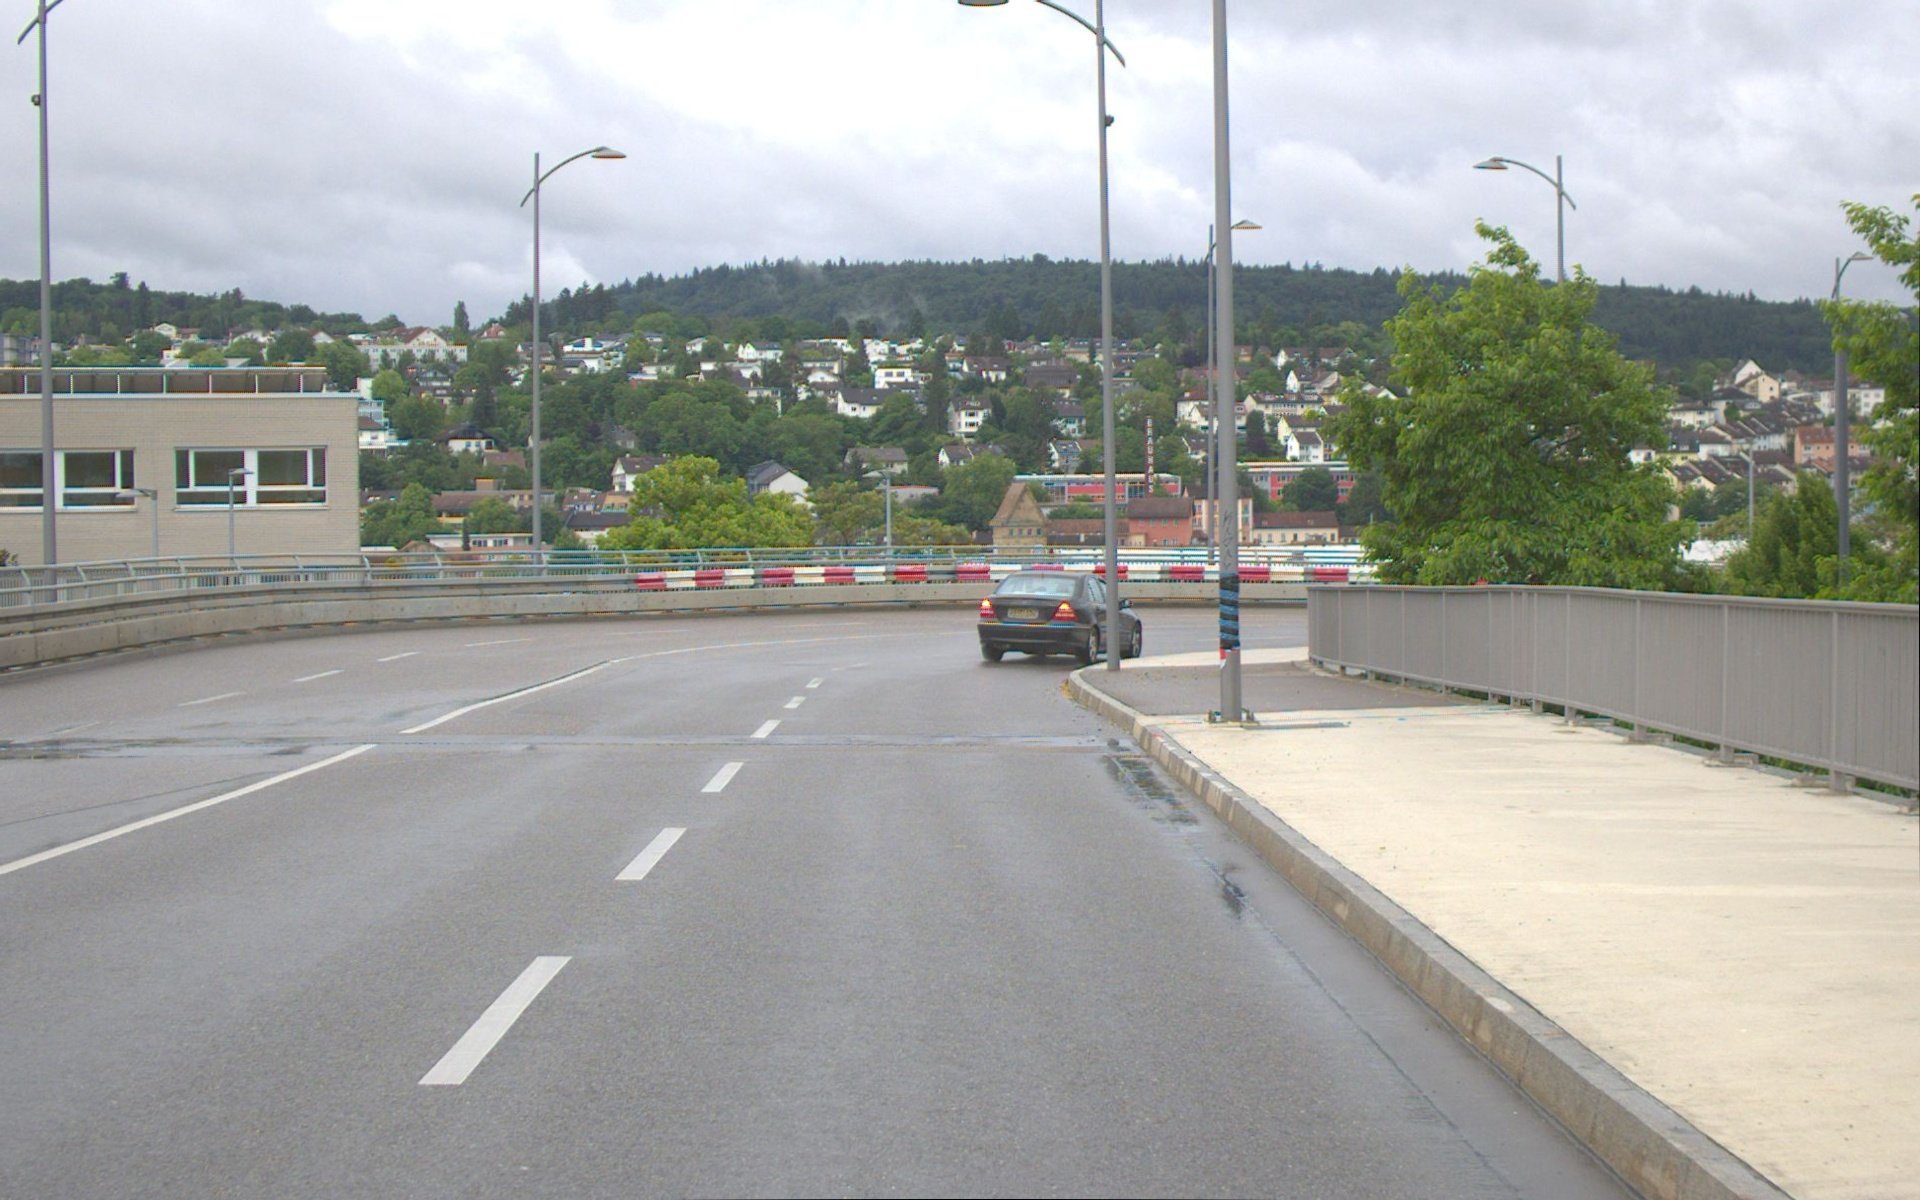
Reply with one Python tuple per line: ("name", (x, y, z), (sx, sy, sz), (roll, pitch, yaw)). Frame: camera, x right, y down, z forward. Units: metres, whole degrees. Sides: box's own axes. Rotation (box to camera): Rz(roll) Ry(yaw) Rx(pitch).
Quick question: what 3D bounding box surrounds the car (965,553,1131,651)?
("car", (1.380, -0.003, 52.528), (1.707, 1.415, 3.723), (1, 1, 15))
